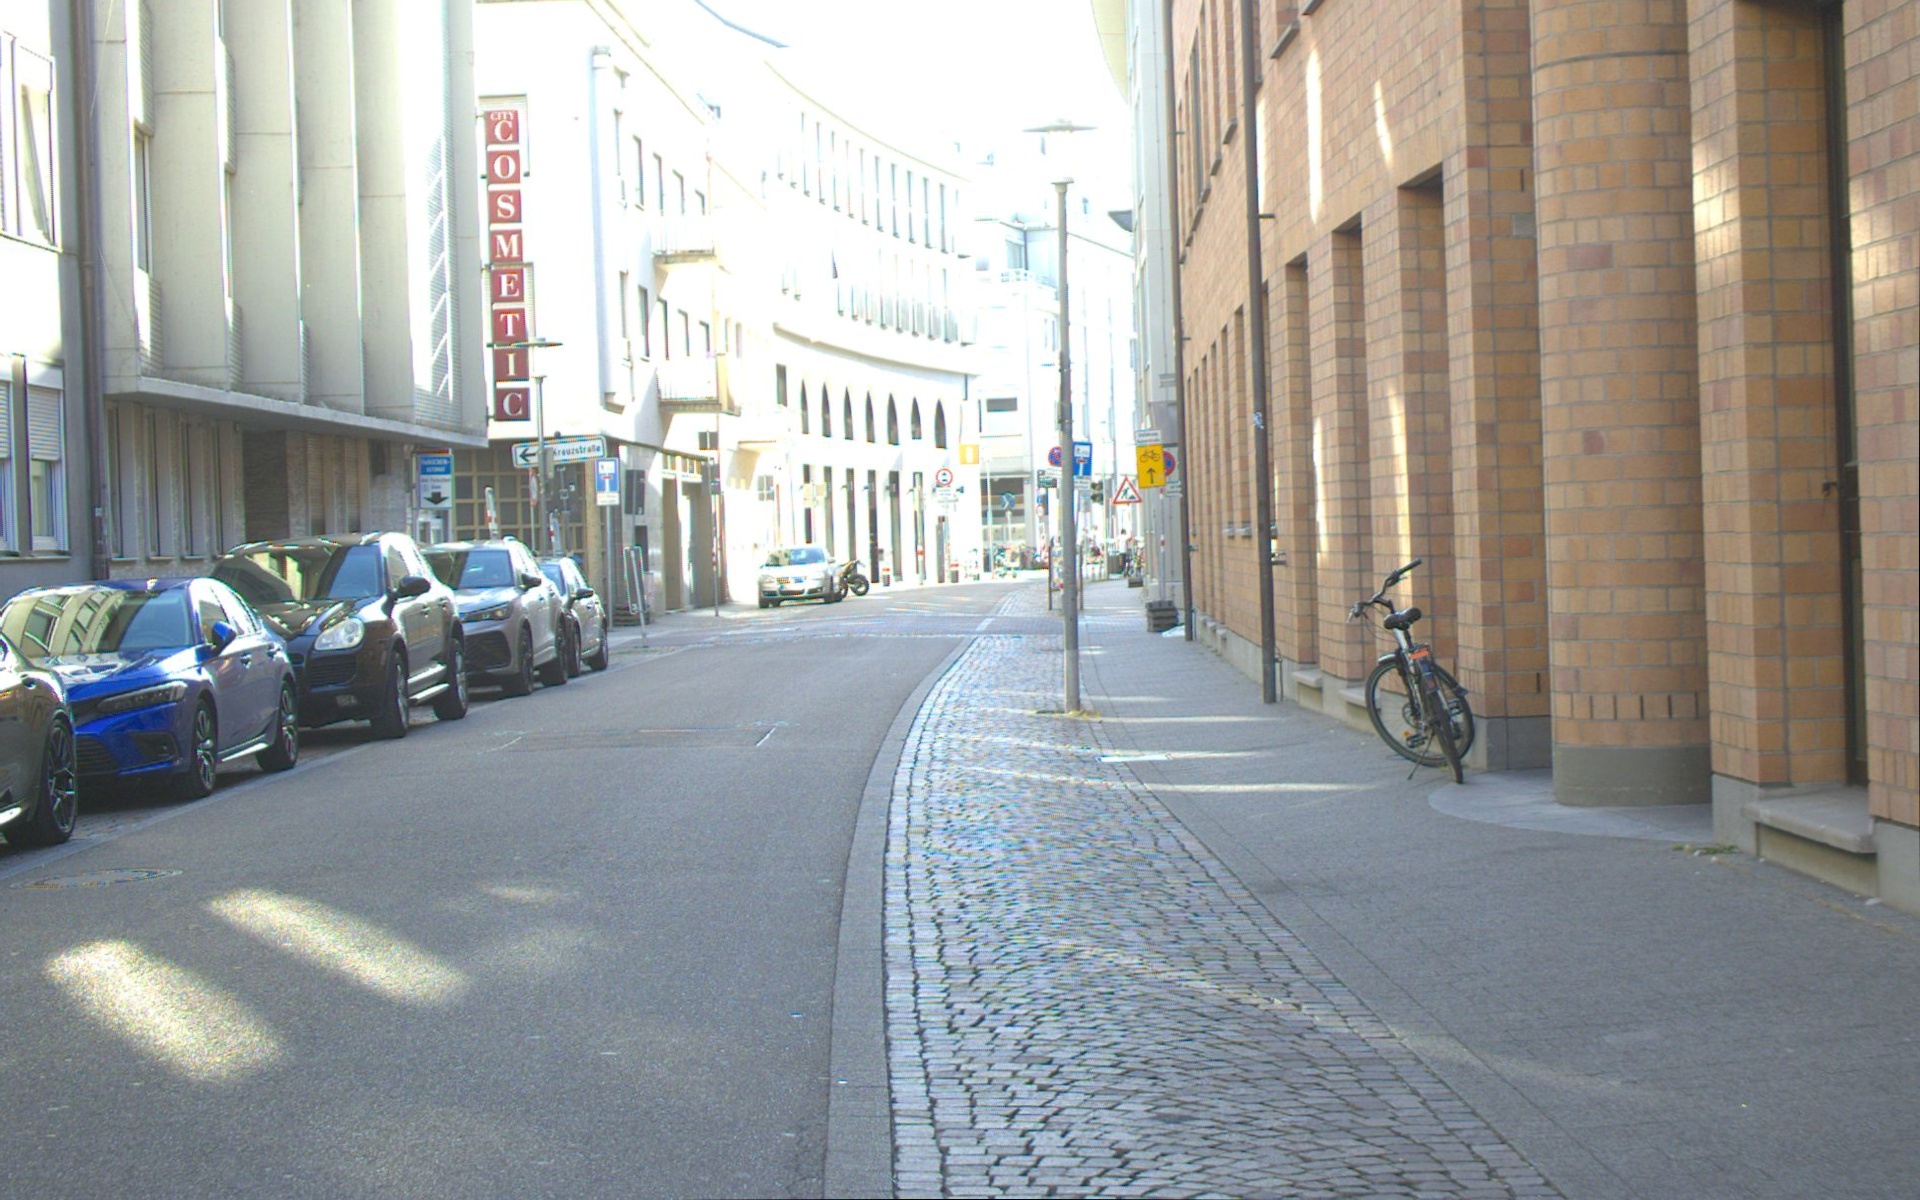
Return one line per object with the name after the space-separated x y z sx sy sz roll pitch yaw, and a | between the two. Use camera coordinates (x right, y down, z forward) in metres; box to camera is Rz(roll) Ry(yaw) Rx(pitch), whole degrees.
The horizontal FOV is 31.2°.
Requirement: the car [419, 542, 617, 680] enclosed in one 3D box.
-5.263 0.090 41.387 1.648 1.455 3.999 -4 1 2 | car

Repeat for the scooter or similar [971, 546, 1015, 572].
1.239 -1.523 128.245 0.526 0.925 2.224 0 2 32 | scooter or similar

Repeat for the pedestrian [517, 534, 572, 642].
-6.295 -0.185 52.103 0.645 1.620 0.457 -2 1 -40 | pedestrian

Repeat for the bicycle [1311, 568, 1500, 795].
2.396 0.411 18.695 0.549 1.099 1.982 -5 2 -4 | bicycle

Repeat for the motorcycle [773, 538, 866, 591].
-3.803 -0.971 92.950 2.391 1.312 0.862 -3 1 2 | motorcycle

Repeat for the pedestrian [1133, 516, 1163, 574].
5.993 -1.753 109.646 0.659 1.862 0.761 0 0 -28 | pedestrian

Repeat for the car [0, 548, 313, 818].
-5.595 0.478 22.723 1.890 1.524 4.340 -2 1 -2 | car

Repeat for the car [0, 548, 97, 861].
-5.702 0.570 16.727 1.890 1.524 4.729 -2 1 -2 | car

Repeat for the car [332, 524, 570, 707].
-5.311 0.105 36.386 1.890 1.736 4.391 -2 1 -1 | car

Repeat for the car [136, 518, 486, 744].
-5.340 0.186 28.912 1.890 1.670 4.553 -2 1 2 | car

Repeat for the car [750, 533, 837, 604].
-3.945 -0.764 81.896 1.736 1.600 3.532 -1 1 2 | car

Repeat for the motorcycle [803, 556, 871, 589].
-3.202 -0.718 89.333 1.691 0.856 0.594 0 0 7 | motorcycle

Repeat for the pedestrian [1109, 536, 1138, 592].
5.450 -1.201 114.904 0.659 1.862 0.786 0 0 -28 | pedestrian
